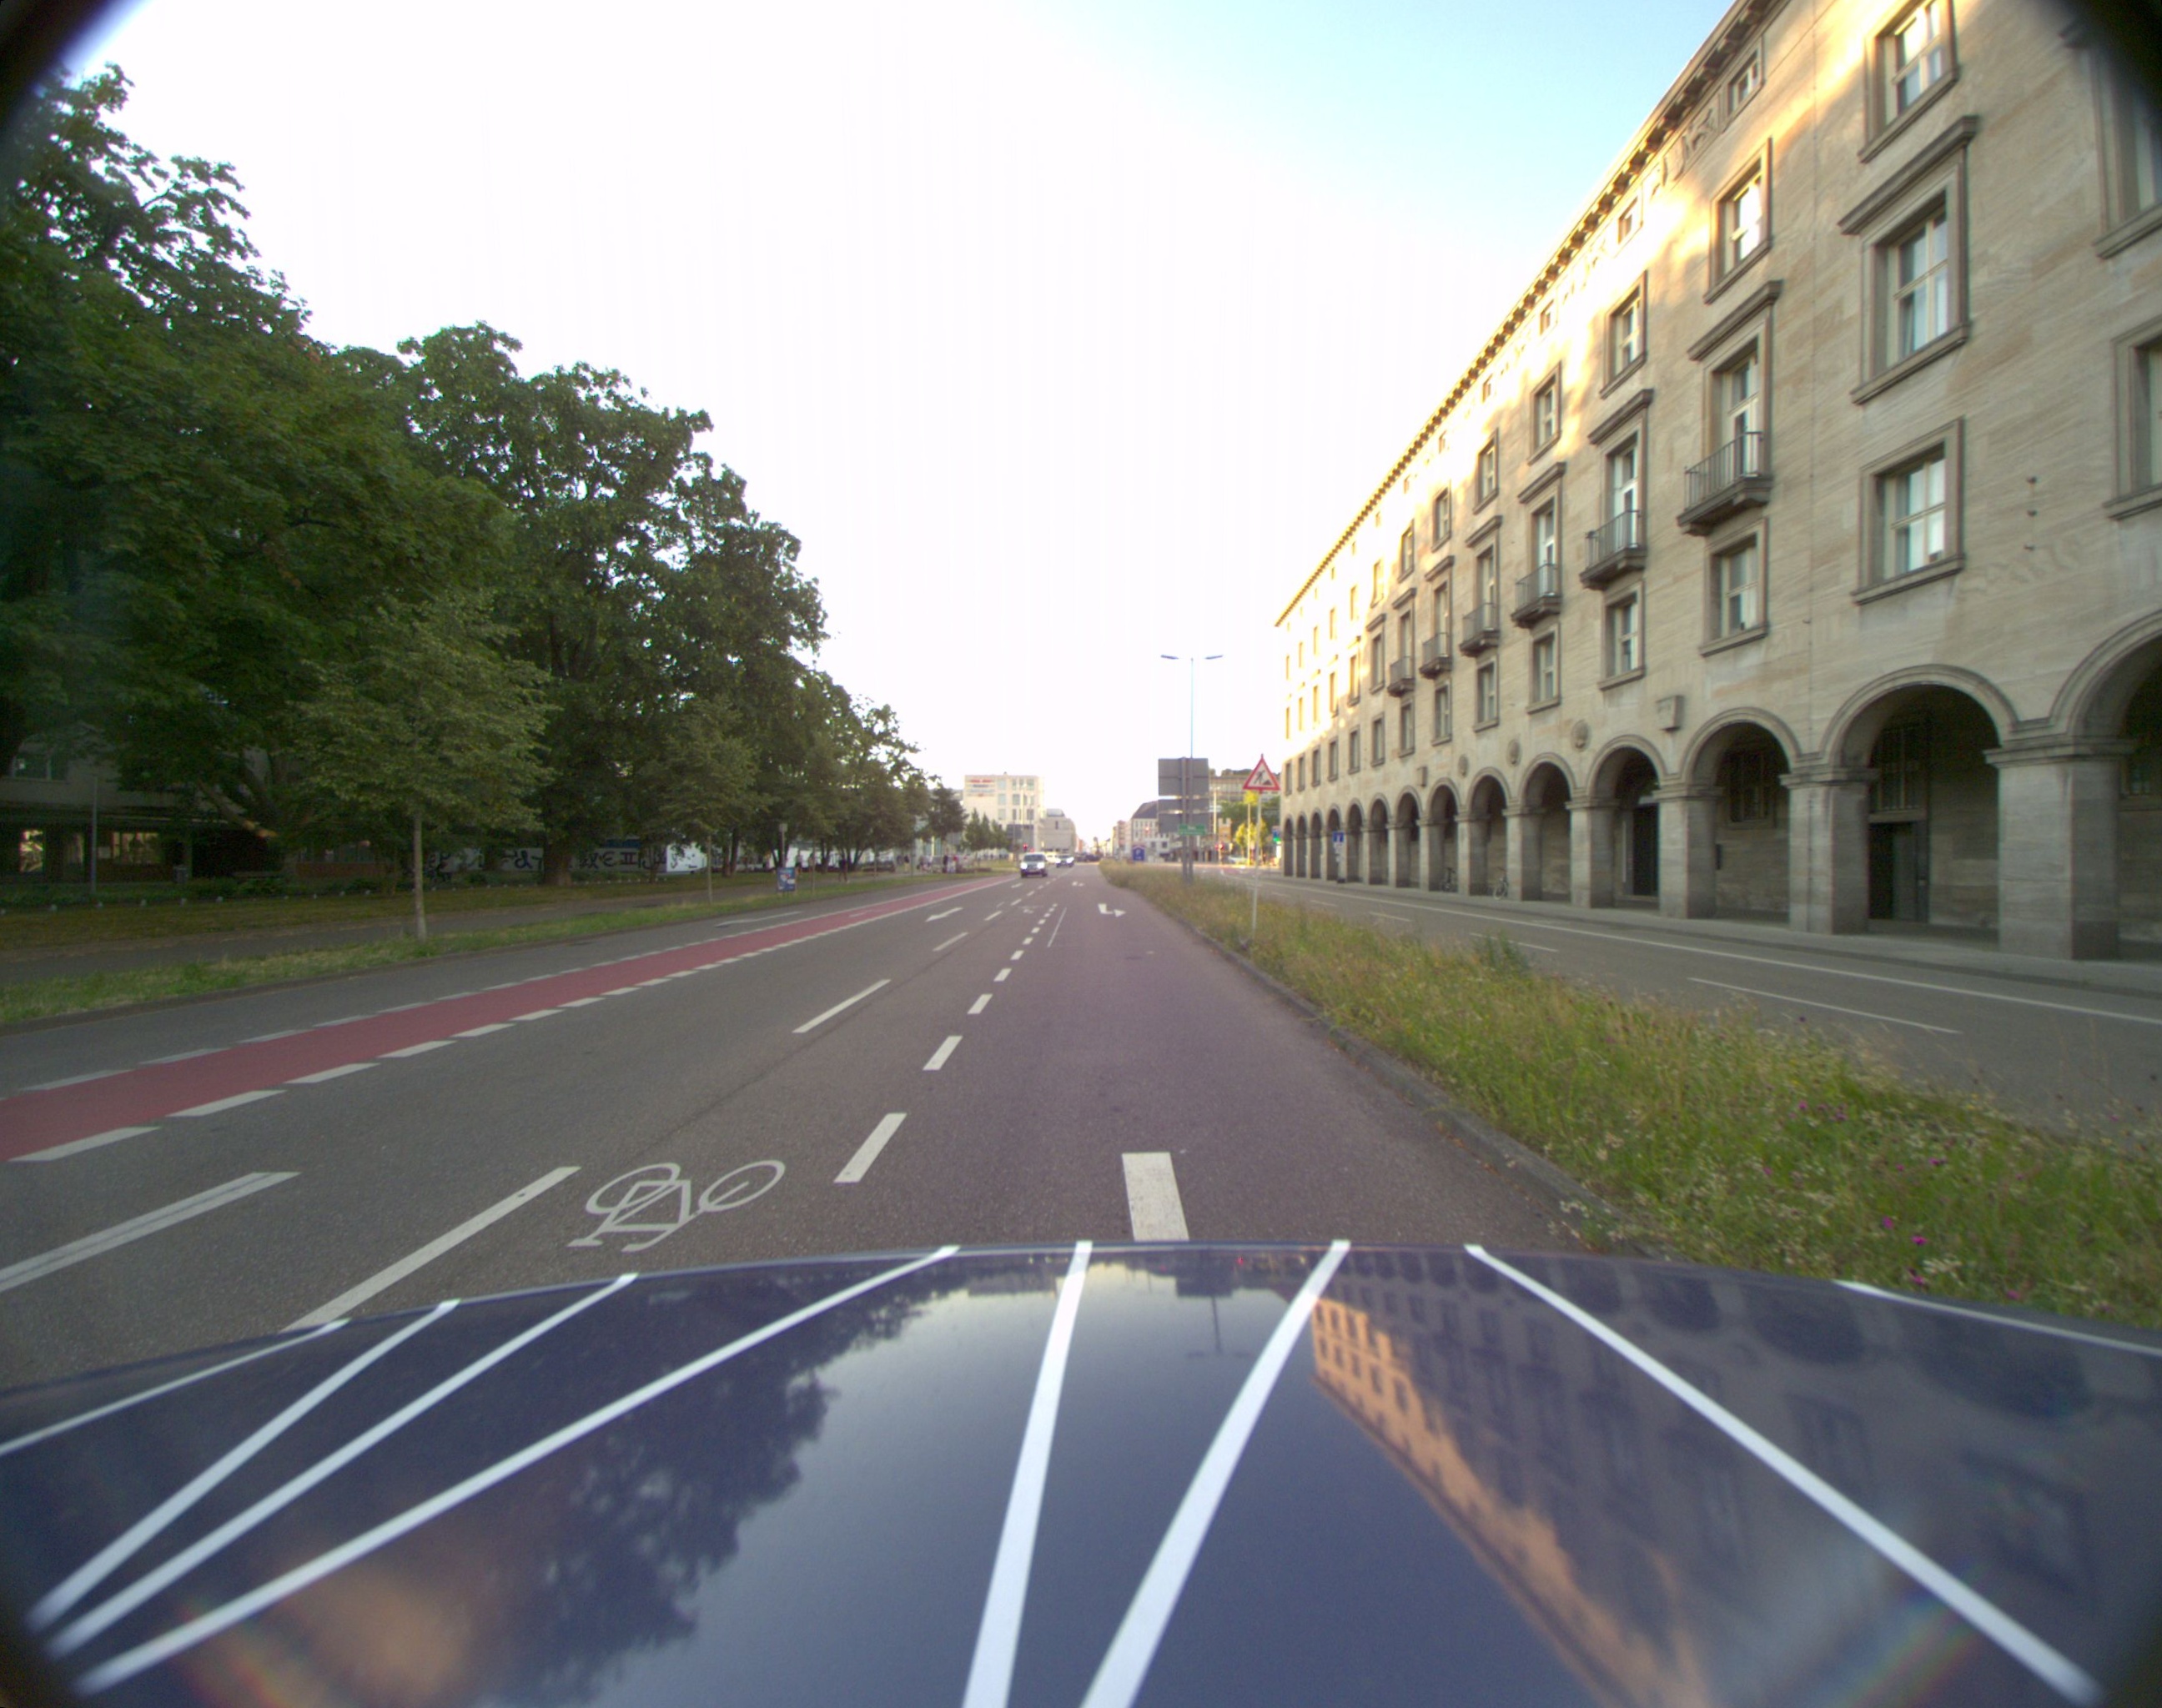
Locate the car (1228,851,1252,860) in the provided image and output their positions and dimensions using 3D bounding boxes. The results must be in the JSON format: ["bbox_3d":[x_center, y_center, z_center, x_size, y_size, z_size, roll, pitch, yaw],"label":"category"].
[{"bbox_3d":[30.075,0.272,144.077,4.029,1.599,1.999,0,0,-7],"label":"car"}]

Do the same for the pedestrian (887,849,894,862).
[{"bbox_3d":[-21.322,0.168,85.038,0.662,1.347,0.559,0,1,1],"label":"pedestrian"}]

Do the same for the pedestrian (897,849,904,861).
[{"bbox_3d":[-20.273,0.103,85.443,0.654,1.347,0.505,0,1,1],"label":"pedestrian"}]

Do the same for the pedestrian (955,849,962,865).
[{"bbox_3d":[-13.475,0.279,83.440,0.638,1.747,0.506,0,1,1],"label":"pedestrian"}]

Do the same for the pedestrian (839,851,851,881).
[{"bbox_3d":[-13.780,0.715,44.342,0.558,1.729,0.555,0,1,1],"label":"pedestrian"}]

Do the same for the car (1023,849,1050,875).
[{"bbox_3d":[-3.313,0.579,57.268,1.767,1.877,4.500,0,0,1],"label":"car"}]

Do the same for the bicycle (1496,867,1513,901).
[{"bbox_3d":[15.381,1.054,27.571,0.513,1.115,2.427,0,1,30],"label":"bicycle"}]

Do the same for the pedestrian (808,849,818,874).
[{"bbox_3d":[-16.803,0.468,47.638,0.500,1.592,0.365,0,1,1],"label":"pedestrian"}]

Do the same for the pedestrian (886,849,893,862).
[{"bbox_3d":[-21.090,0.161,83.792,0.519,1.347,0.773,0,1,1],"label":"pedestrian"}]

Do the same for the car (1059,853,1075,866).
[{"bbox_3d":[-1.704,0.653,94.970,1.826,1.612,4.336,0,0,0],"label":"car"}]

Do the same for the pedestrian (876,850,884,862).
[{"bbox_3d":[-22.431,0.226,84.627,0.728,1.347,0.614,0,1,1],"label":"pedestrian"}]

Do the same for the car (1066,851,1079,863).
[{"bbox_3d":[-1.165,0.370,105.447,1.782,1.617,4.215,-1,0,1],"label":"car"}]

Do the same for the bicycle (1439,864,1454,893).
[{"bbox_3d":[15.489,1.016,32.197,0.513,1.172,2.427,0,0,25],"label":"bicycle"}]

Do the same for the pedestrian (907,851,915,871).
[{"bbox_3d":[-14.936,0.579,66.635,0.509,1.720,0.719,0,1,1],"label":"pedestrian"}]

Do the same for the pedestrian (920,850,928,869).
[{"bbox_3d":[-14.808,0.509,71.679,0.519,1.720,0.719,0,1,1],"label":"pedestrian"}]

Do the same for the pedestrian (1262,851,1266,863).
[{"bbox_3d":[25.269,0.407,105.025,0.526,1.532,0.390,0,1,1],"label":"pedestrian"}]

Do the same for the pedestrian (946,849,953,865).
[{"bbox_3d":[-14.489,0.357,83.634,0.638,1.747,0.506,0,1,1],"label":"pedestrian"}]

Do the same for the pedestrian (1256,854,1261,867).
[{"bbox_3d":[24.575,0.904,105.283,0.638,1.747,0.506,0,1,1],"label":"pedestrian"}]

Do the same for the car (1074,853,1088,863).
[{"bbox_3d":[-0.012,0.744,130.243,1.783,1.676,4.212,0,0,-7],"label":"car"}]

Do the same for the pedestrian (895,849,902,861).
[{"bbox_3d":[-20.159,0.123,83.960,0.519,1.347,0.773,0,1,1],"label":"pedestrian"}]

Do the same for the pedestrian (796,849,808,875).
[{"bbox_3d":[-17.064,0.470,46.482,0.500,1.592,0.522,0,1,1],"label":"pedestrian"}]

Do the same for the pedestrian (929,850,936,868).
[{"bbox_3d":[-13.908,0.489,71.370,0.509,1.720,0.719,0,1,1],"label":"pedestrian"}]

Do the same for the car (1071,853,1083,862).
[{"bbox_3d":[-0.682,0.668,138.805,1.783,1.676,4.212,0,0,-7],"label":"car"}]
